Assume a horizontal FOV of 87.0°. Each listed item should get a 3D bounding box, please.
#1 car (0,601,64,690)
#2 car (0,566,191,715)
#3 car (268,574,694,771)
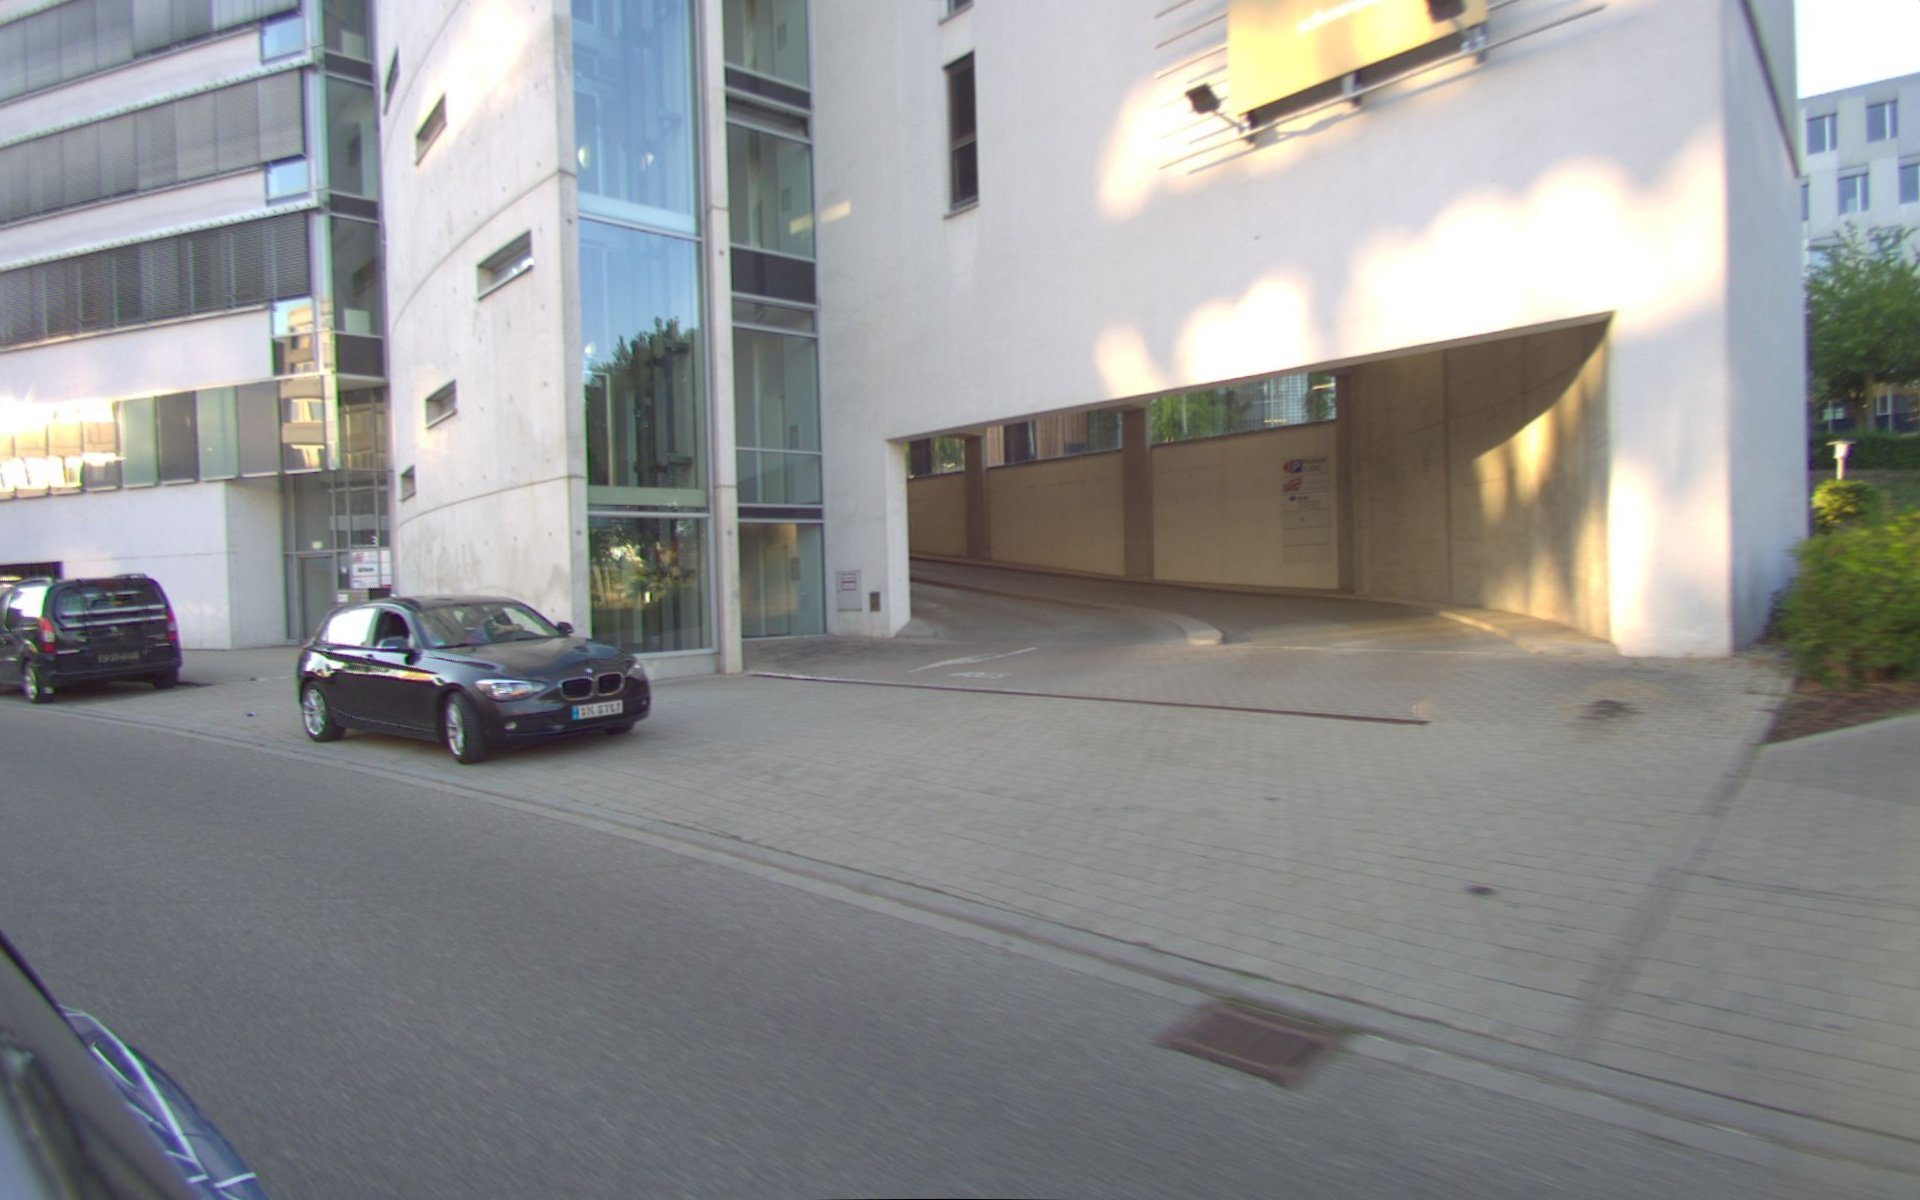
[{"bbox_3d":[-18.530,0.871,18.388,4.498,1.488,1.850,-2,3,28],"label":"car"},{"bbox_3d":[-14.264,0.591,16.011,4.505,1.987,1.874,-2,3,34],"label":"car"},{"bbox_3d":[-4.747,0.595,9.841,4.218,1.452,1.837,-2,3,35],"label":"car"}]
